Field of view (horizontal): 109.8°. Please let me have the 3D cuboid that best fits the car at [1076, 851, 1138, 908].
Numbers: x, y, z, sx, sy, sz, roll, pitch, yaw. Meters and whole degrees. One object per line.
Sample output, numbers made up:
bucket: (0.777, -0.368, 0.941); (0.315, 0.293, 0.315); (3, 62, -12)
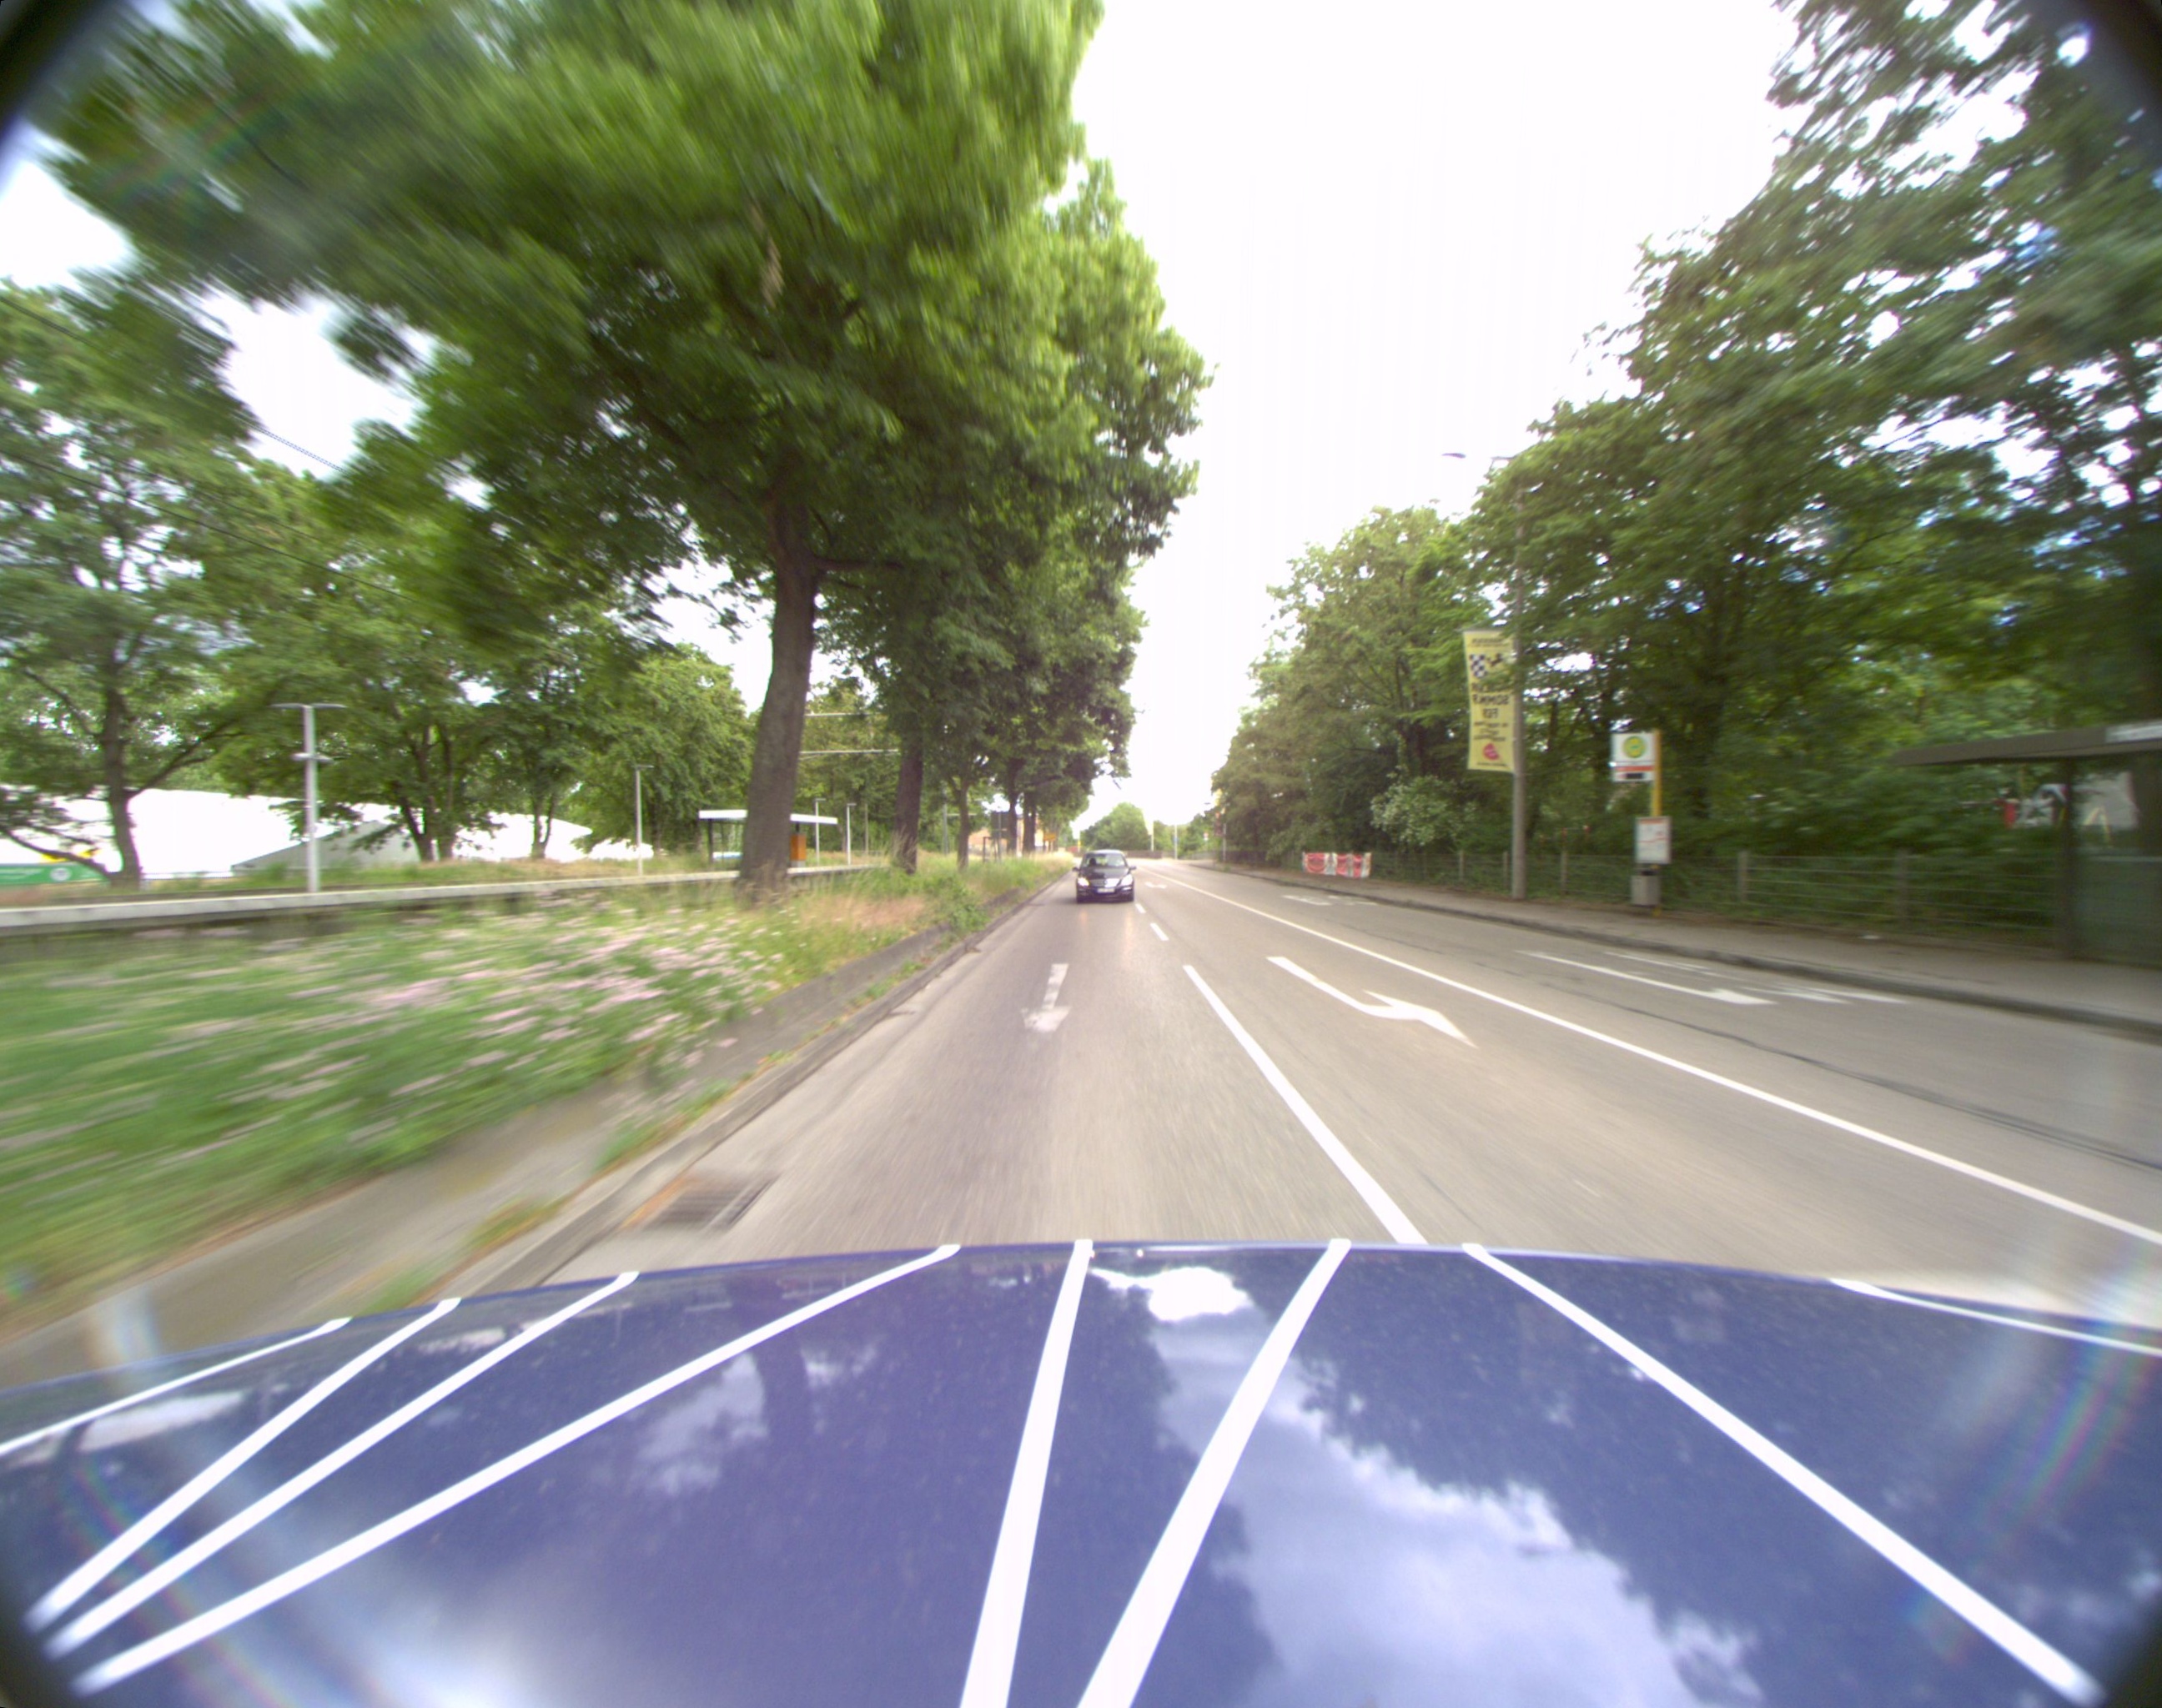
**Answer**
car: (0.802, 0.719, 23.630); (1.751, 1.556, 4.075); (0, 1, 2)
